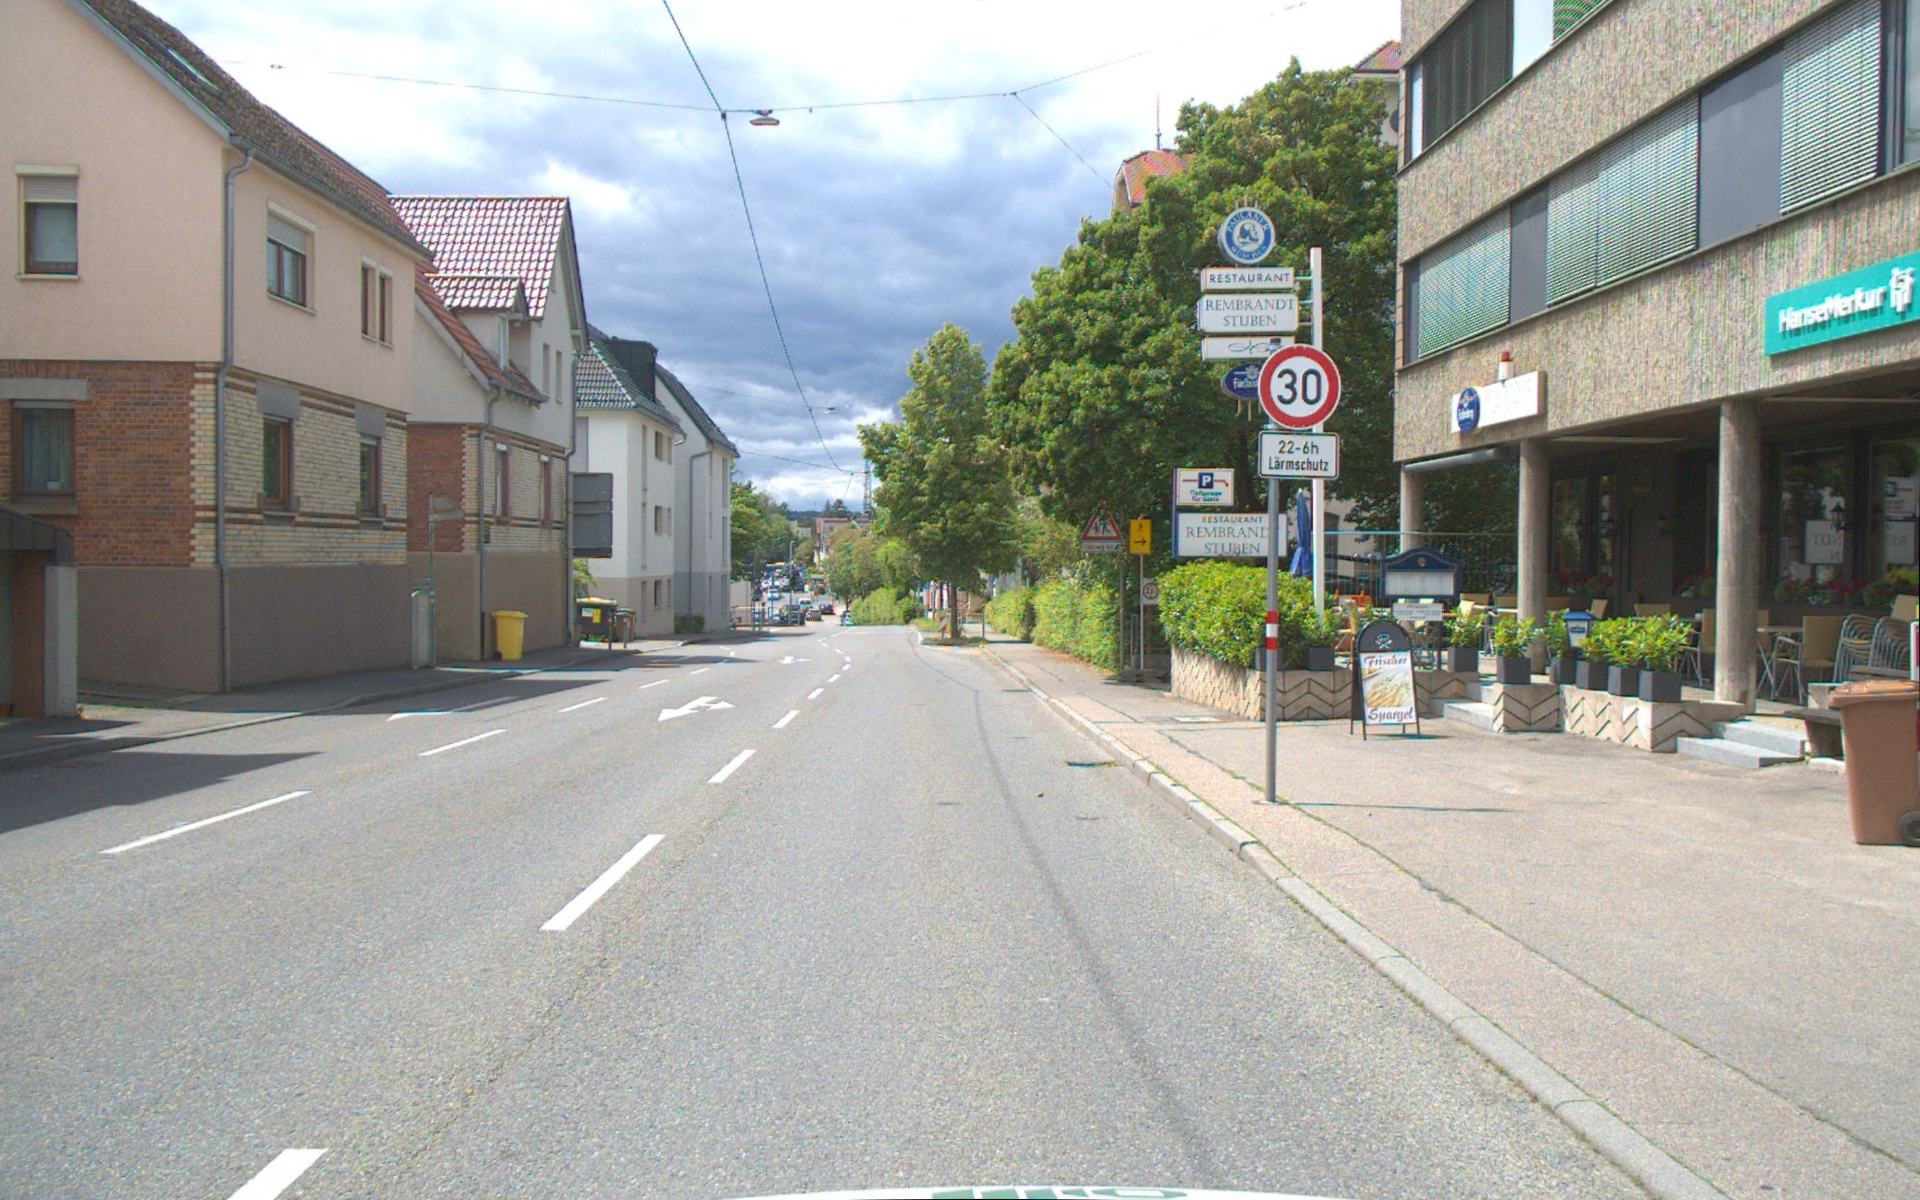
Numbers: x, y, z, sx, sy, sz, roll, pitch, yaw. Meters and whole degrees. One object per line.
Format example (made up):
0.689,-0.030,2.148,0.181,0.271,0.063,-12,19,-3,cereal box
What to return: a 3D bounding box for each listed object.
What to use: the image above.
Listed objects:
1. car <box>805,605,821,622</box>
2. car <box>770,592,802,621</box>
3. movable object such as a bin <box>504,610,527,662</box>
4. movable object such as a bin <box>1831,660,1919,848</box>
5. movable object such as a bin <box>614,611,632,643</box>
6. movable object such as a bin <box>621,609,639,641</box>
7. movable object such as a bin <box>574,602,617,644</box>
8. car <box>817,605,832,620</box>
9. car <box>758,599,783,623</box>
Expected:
-18.409,1.722,206.841,1.955,2.049,3.995,0,-1,-6,car
-12.640,0.441,119.797,1.958,2.049,3.989,1,0,-11,car
-9.992,0.804,37.185,0.422,1.148,0.299,0,0,-3,movable object such as a bin
5.509,0.892,9.813,0.591,1.044,0.678,0,0,28,movable object such as a bin
-11.061,0.889,54.251,0.521,1.048,0.455,0,0,-4,movable object such as a bin
-10.958,0.823,54.959,0.521,1.048,0.455,0,0,-4,movable object such as a bin
-11.703,0.746,53.167,1.257,1.333,0.815,0,0,-8,movable object such as a bin
-18.221,1.669,222.708,1.955,2.049,3.995,0,-1,-6,car
-16.644,0.948,145.199,1.958,2.049,3.989,1,0,-11,car
